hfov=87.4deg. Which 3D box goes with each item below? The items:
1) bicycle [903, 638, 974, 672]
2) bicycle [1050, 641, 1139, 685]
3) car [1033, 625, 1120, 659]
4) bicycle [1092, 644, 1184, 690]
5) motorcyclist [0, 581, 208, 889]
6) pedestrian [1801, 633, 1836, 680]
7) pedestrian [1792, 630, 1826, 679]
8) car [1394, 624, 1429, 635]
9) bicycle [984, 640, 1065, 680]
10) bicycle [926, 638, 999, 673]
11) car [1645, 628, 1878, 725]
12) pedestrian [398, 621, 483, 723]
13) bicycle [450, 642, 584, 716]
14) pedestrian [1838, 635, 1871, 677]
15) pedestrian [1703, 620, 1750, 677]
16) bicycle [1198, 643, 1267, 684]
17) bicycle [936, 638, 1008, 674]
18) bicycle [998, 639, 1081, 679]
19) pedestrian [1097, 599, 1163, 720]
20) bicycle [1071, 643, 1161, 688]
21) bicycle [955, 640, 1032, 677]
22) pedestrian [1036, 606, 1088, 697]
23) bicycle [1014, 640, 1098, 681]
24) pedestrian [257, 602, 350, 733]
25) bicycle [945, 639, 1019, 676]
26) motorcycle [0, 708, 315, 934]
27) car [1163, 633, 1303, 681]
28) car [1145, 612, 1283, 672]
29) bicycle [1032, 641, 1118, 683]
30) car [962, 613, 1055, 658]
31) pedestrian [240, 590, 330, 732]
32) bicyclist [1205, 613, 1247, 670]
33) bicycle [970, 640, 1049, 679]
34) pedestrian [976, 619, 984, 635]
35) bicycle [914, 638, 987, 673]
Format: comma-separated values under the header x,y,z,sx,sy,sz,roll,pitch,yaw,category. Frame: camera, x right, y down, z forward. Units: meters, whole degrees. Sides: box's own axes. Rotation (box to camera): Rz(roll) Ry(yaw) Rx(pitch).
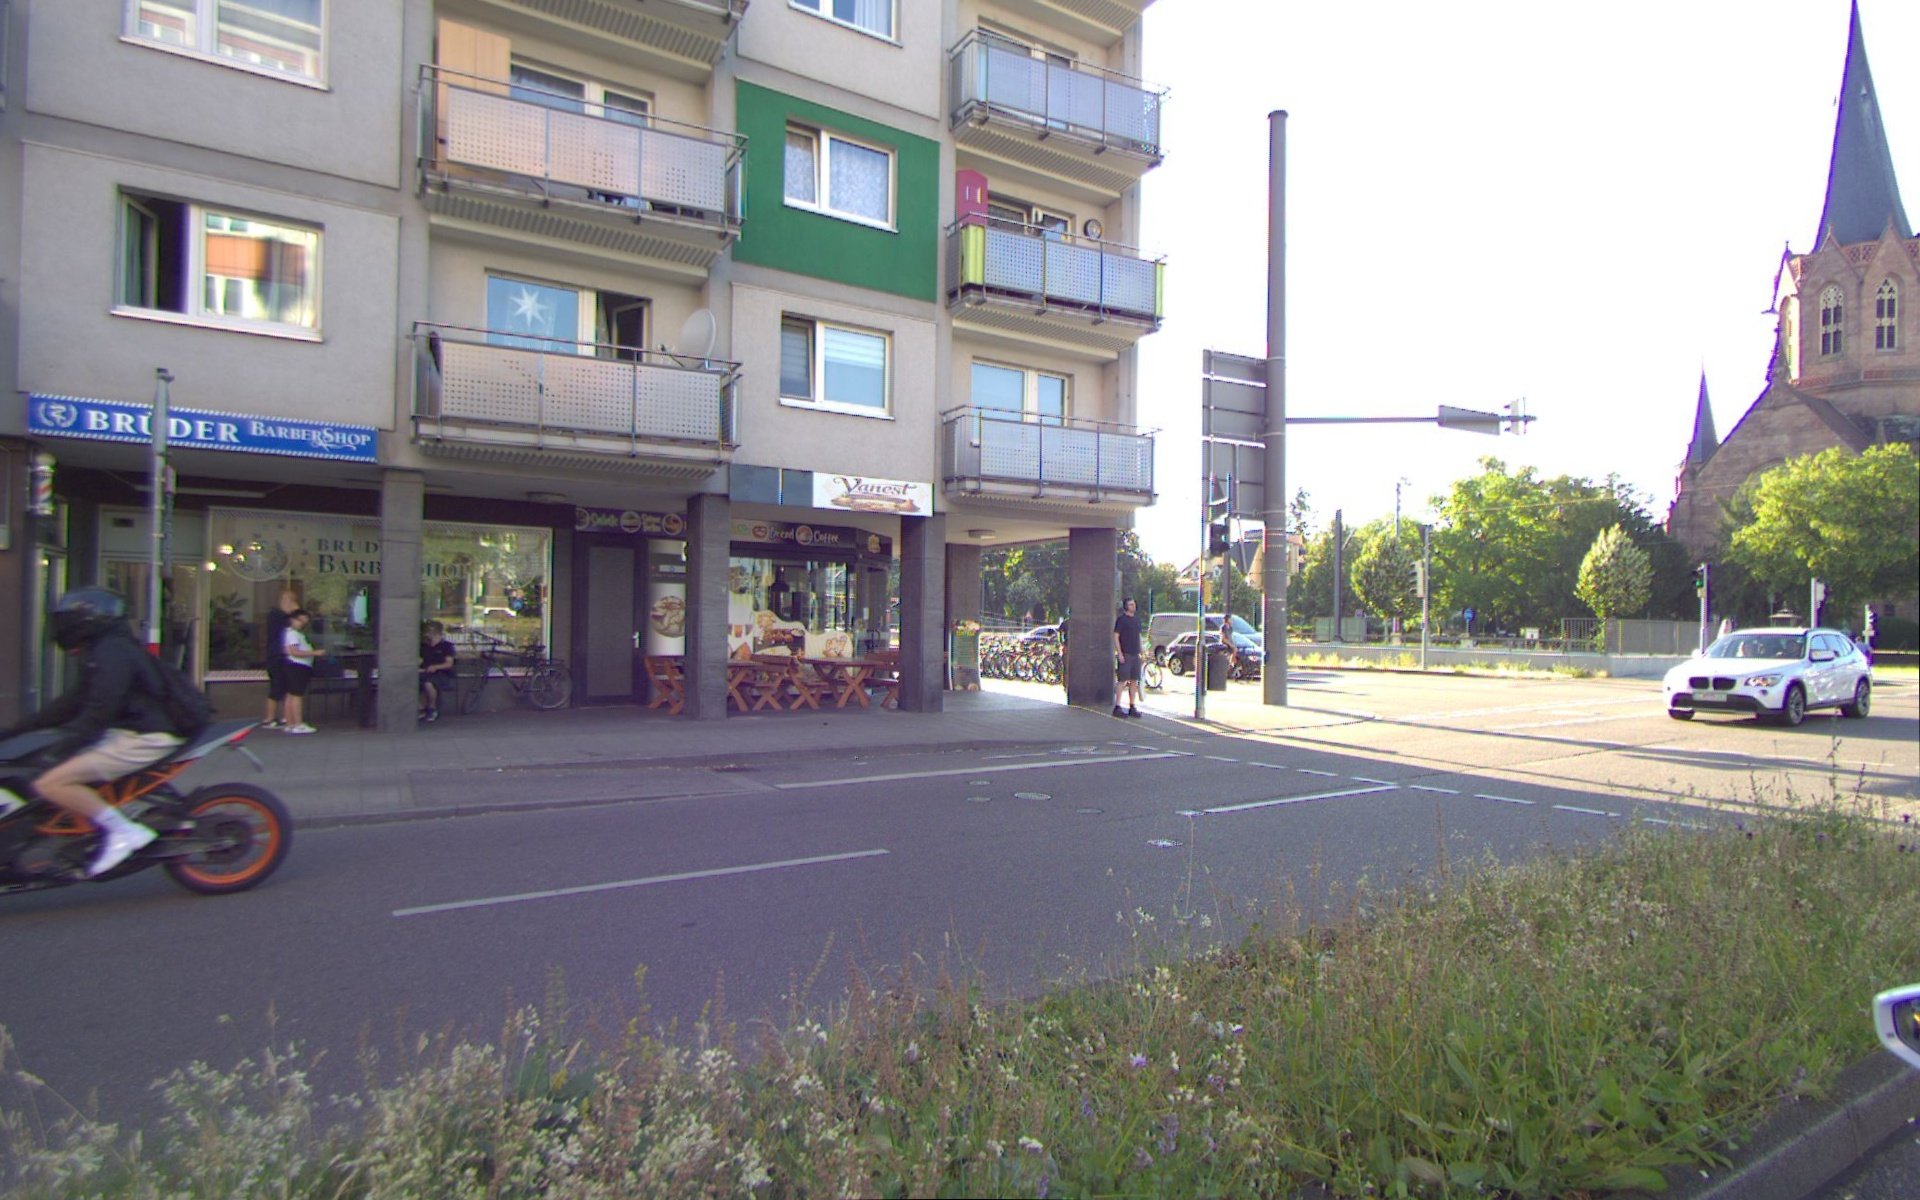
x,y,z,sx,sy,sz,roll,pitch,yaw,category
-0.691,1.805,32.795,2.273,1.065,0.731,2,-2,-31,bicycle
3.440,1.595,25.610,2.273,1.065,0.731,2,-2,-31,bicycle
5.065,1.838,44.101,1.781,1.392,3.880,2,-2,-32,car
4.303,1.602,24.247,2.273,1.065,0.731,2,-1,-31,bicycle
-4.549,0.654,5.206,0.947,1.460,0.744,1,-2,-32,motorcyclist
32.692,2.151,38.240,1.009,1.719,0.834,2,0,-41,pedestrian
30.715,1.973,36.348,0.887,1.719,0.703,2,0,-35,pedestrian
68.167,4.395,151.692,1.985,1.592,4.411,2,-2,-41,car
1.846,1.689,28.452,2.273,1.065,0.731,2,-2,-31,bicycle
0.103,1.724,31.423,2.273,1.065,0.642,2,-2,-31,bicycle
13.856,1.239,17.327,4.198,1.508,1.744,1,-2,-30,car
-7.077,0.961,13.704,0.613,1.331,0.811,0,-1,16,pedestrian
-6.486,1.139,14.759,1.684,1.012,0.619,2,-2,-40,bicycle
37.867,2.355,42.528,1.008,1.719,0.835,2,0,-39,pedestrian
24.277,1.532,31.824,0.803,1.762,0.960,2,-1,-32,pedestrian
7.838,1.813,28.964,0.940,1.112,1.769,1,-2,-30,bicycle
0.381,1.729,30.915,2.273,1.065,0.558,2,-2,-31,bicycle
2.212,1.631,27.774,2.273,1.065,0.731,2,-2,-31,bicycle
2.768,0.954,16.407,0.803,1.900,0.605,1,2,-30,pedestrian
3.878,1.608,24.929,2.273,1.065,0.731,2,-2,-31,bicycle
1.004,1.731,29.822,2.273,1.065,0.731,2,-2,-31,bicycle
2.080,1.041,20.528,0.802,1.811,0.606,1,2,-27,pedestrian
2.599,1.621,27.086,2.273,1.065,0.731,2,-2,-31,bicycle
-7.741,0.777,11.855,0.613,1.486,0.658,0,-1,24,pedestrian
0.677,1.729,30.407,2.273,1.065,0.558,2,-2,-31,bicycle
-4.561,1.110,5.196,2.025,0.976,0.744,1,-2,-32,motorcycle
8.478,1.749,31.544,1.781,1.330,4.165,2,-2,-32,car
9.170,1.487,36.695,1.978,2.040,4.896,2,-2,-32,car
3.015,1.612,26.276,2.273,1.065,0.731,2,-2,-31,bicycle
2.243,1.646,47.928,1.978,2.040,4.896,2,-2,-32,car
-8.301,0.734,12.367,0.613,1.694,0.658,0,-1,24,pedestrian
7.723,1.197,29.170,0.952,1.619,0.732,1,-2,-30,bicyclist
1.443,1.716,29.143,2.273,1.065,0.731,2,-2,-31,bicycle
2.370,3.212,118.957,0.677,1.847,0.531,2,-1,-27,pedestrian
-0.284,1.767,32.107,2.273,1.065,0.731,2,-2,-31,bicycle
